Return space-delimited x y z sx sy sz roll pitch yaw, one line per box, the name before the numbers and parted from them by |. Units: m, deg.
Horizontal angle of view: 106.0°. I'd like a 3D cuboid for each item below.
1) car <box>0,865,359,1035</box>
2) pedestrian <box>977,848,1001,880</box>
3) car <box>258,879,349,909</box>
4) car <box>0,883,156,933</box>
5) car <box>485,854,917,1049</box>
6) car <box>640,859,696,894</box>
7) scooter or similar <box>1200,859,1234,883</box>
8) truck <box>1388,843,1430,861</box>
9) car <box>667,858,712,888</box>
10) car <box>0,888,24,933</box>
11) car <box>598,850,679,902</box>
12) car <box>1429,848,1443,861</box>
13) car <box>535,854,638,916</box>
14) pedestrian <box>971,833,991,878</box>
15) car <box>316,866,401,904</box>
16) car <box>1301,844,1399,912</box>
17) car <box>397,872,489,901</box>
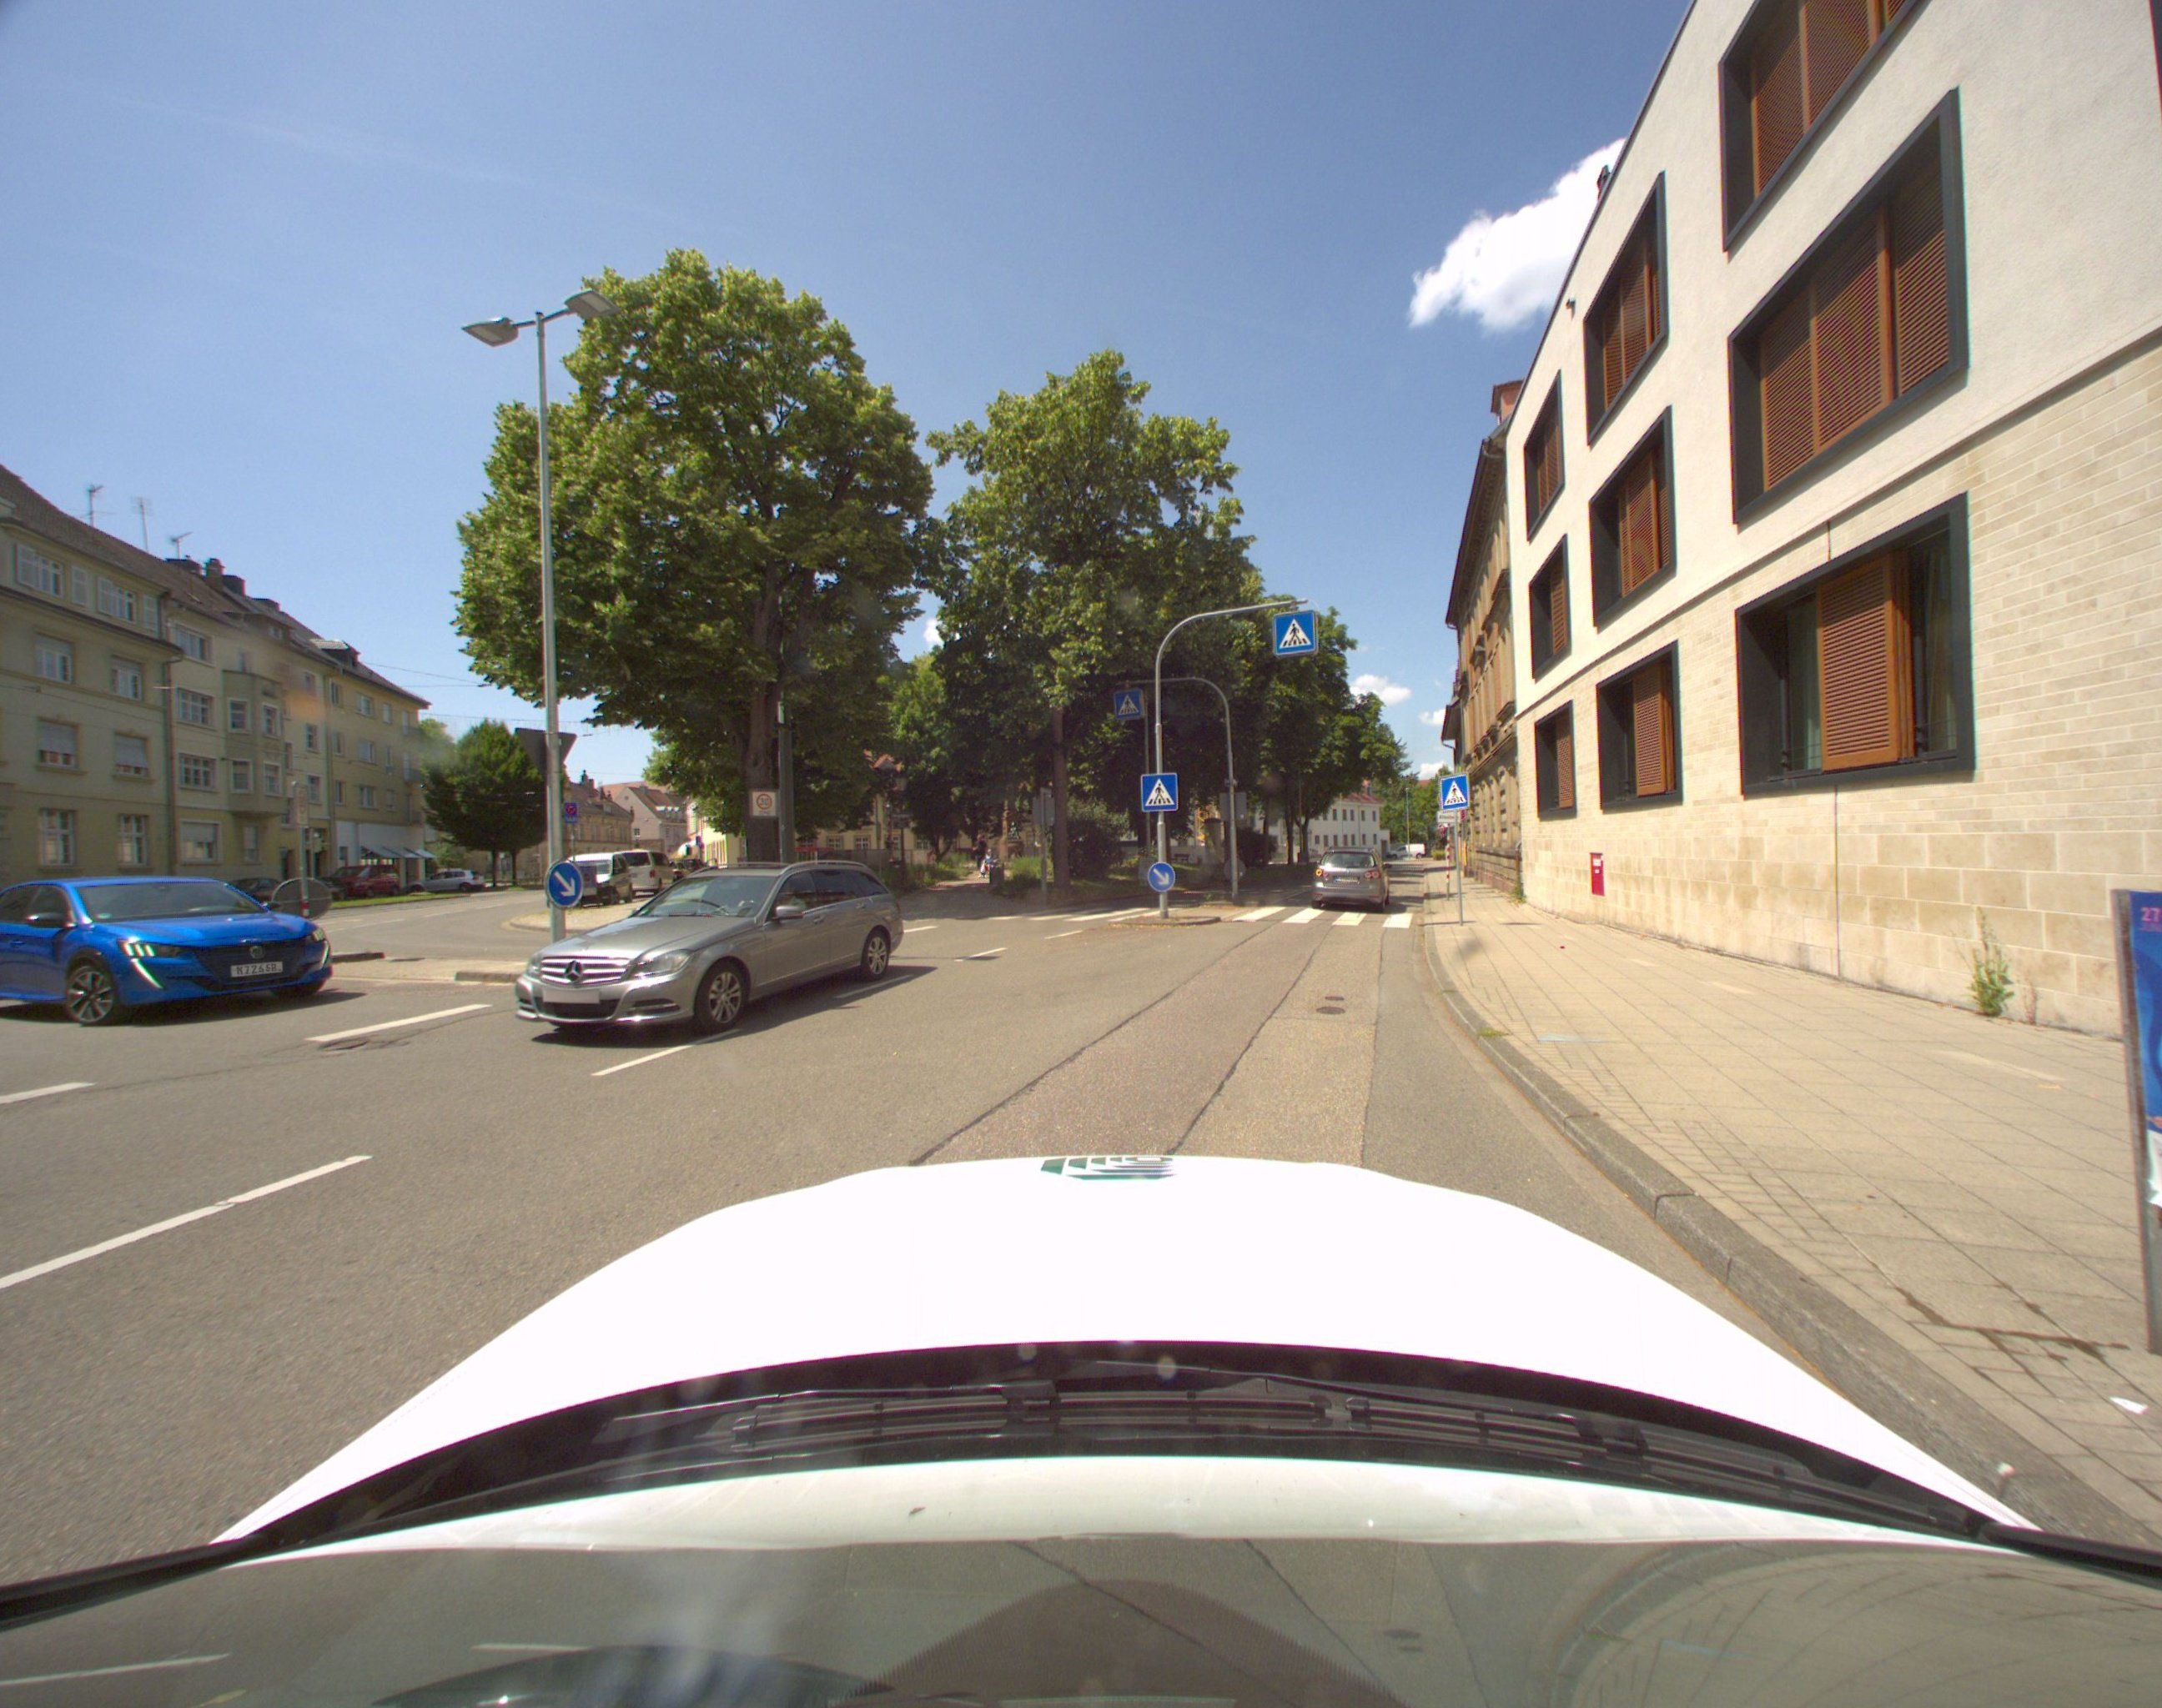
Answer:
car | -10.380 0.941 9.042 3.953 1.492 1.825 -1 1 20
pedestrian | -3.843 0.409 34.241 0.904 1.252 1.147 -2 1 -4
car | -39.752 2.012 41.771 1.647 1.277 4.236 -4 1 -19
car | -35.267 1.835 28.746 1.692 1.390 3.832 -4 1 -19
car | -3.561 0.785 8.727 1.725 1.488 4.425 -1 0 14
car | -21.184 1.101 41.918 1.788 1.624 4.459 -2 0 -18
scooter or similar | 6.560 0.794 39.285 1.262 0.991 1.459 7 3 20
truck | 41.282 -0.245 102.570 4.757 2.013 2.155 -1 0 16
car | -23.385 1.093 48.756 1.788 1.693 4.175 -2 0 -18
car | -33.474 1.793 23.507 1.692 1.360 3.832 -4 1 -19
car | -18.969 0.902 35.174 2.055 2.002 5.217 -2 0 -18
car | 46.110 0.060 105.877 1.632 1.574 3.659 -1 0 23
car | -16.326 0.947 27.155 2.000 1.826 4.393 -2 0 -19
pedestrian | -4.295 0.064 35.124 0.746 1.910 0.683 -2 1 -4
car | -41.367 1.734 46.765 1.859 1.911 4.740 -4 1 -19
car | 7.129 0.541 21.278 1.886 1.533 4.268 2 1 25
car | -41.209 2.081 52.721 4.222 1.504 1.988 -4 1 -23
